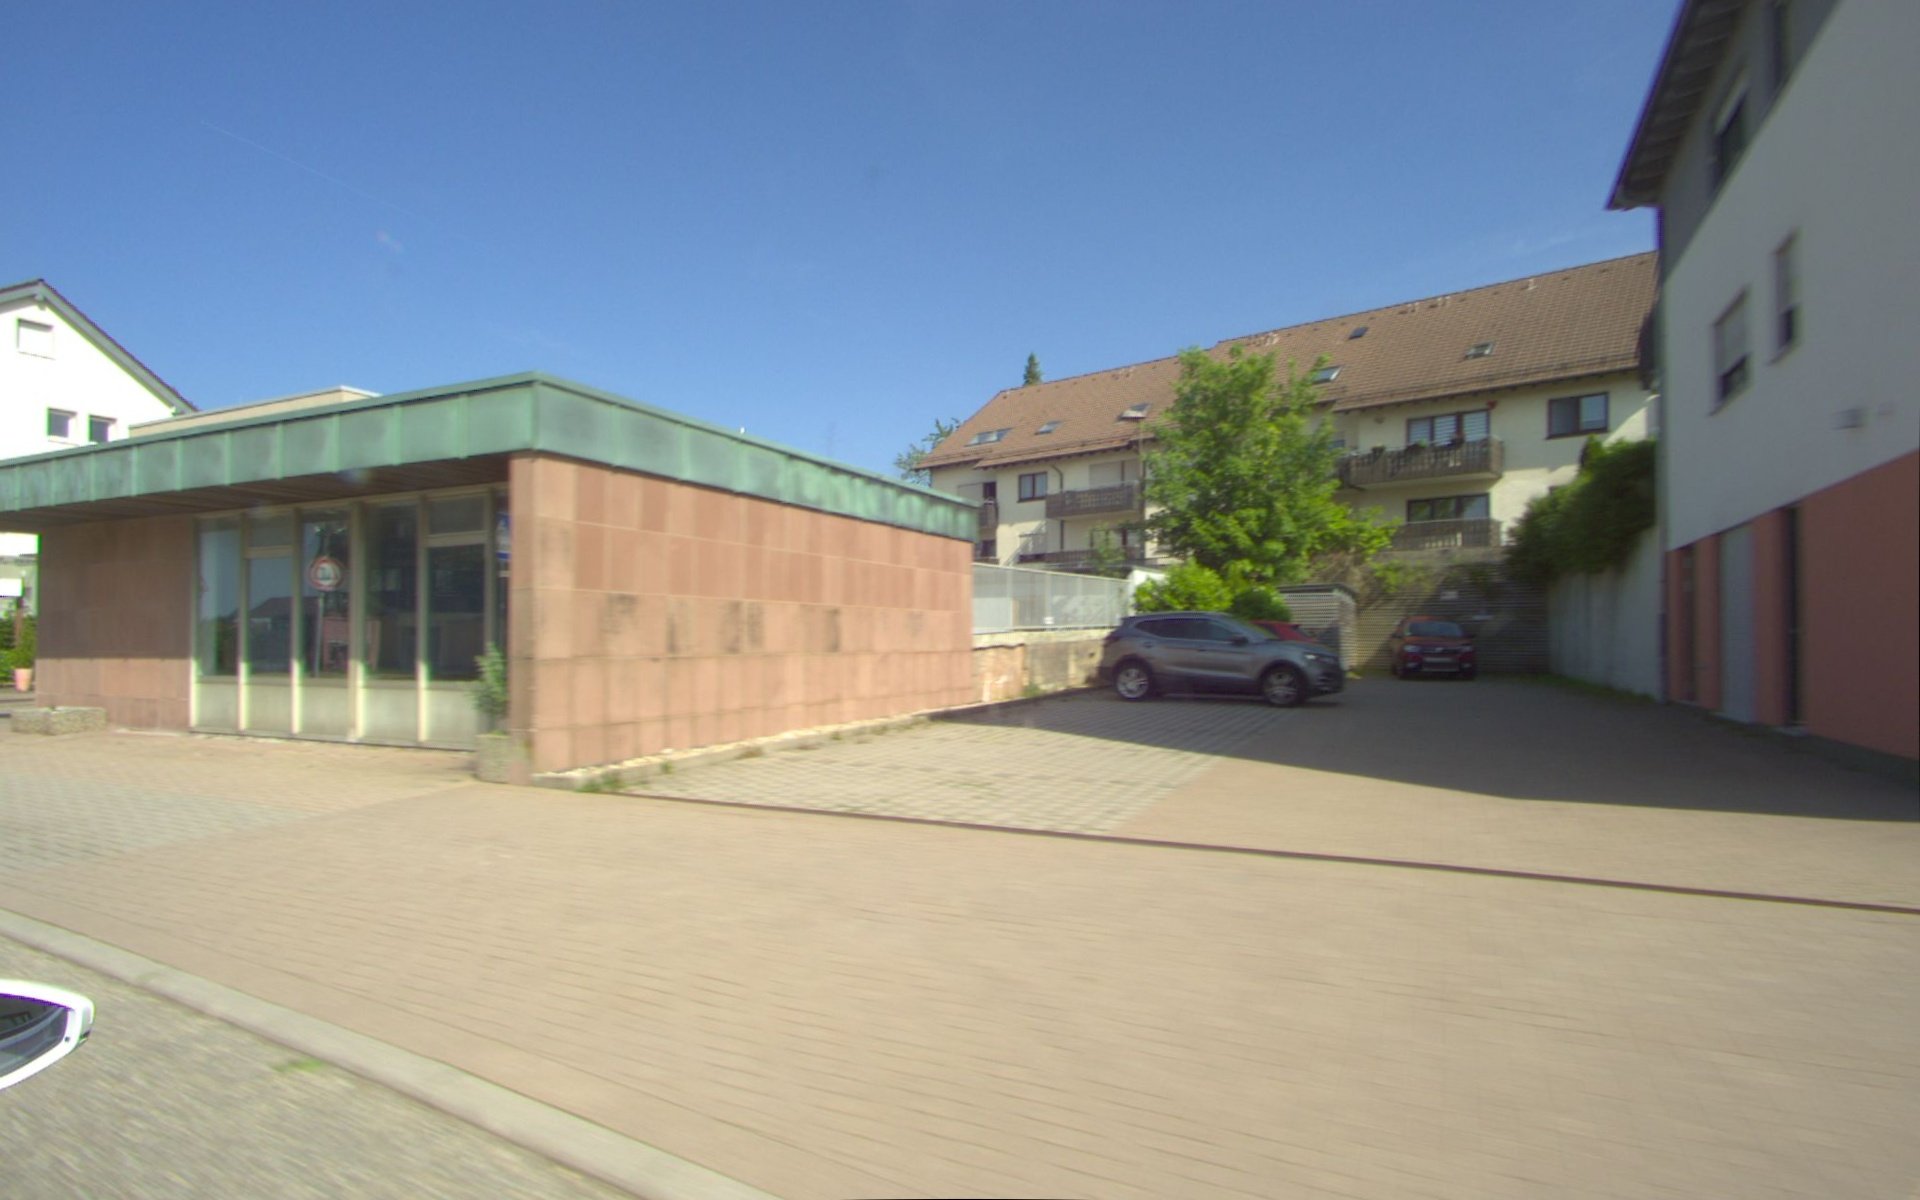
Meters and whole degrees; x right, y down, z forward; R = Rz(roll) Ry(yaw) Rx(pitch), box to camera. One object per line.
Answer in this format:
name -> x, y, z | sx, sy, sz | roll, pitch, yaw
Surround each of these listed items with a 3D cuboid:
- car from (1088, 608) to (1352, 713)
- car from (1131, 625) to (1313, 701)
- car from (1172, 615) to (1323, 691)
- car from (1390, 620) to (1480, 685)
car -> 4.675, 0.998, 18.051 | 4.310, 1.671, 1.915 | 0, 0, 28
car -> 5.262, 1.223, 20.110 | 3.252, 1.410, 1.777 | -1, -2, 27
car -> 6.574, 1.172, 22.849 | 3.106, 1.559, 1.665 | -1, 1, 25
car -> 11.957, 1.273, 25.401 | 1.860, 1.459, 3.537 | -1, 0, 22
